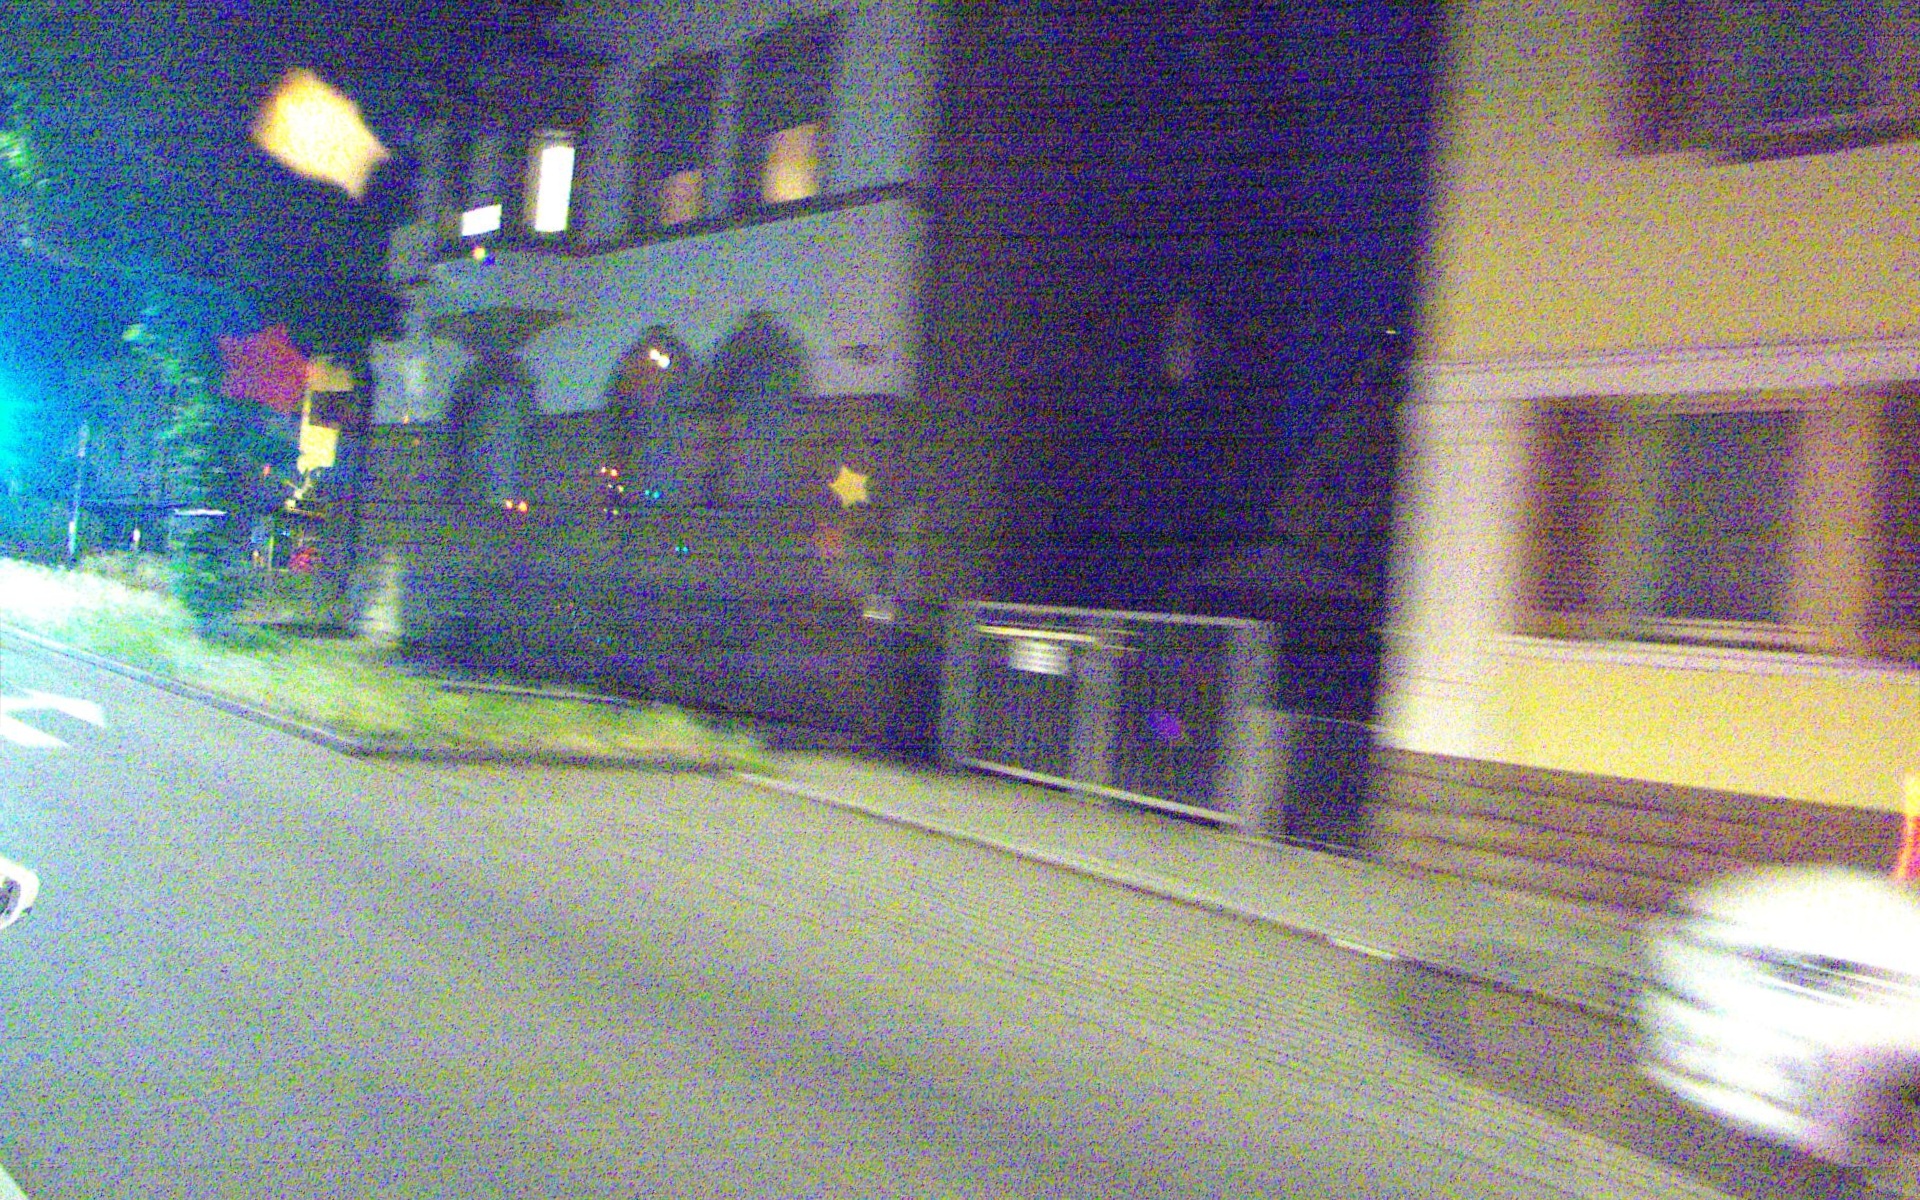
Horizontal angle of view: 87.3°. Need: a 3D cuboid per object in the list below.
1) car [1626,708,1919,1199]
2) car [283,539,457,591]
[{"bbox_3d":[4.319,1.388,3.093,3.543,1.503,1.669,7,1,31],"label":"car"},{"bbox_3d":[-17.504,-1.021,29.990,1.740,1.298,4.121,6,4,39],"label":"car"}]
